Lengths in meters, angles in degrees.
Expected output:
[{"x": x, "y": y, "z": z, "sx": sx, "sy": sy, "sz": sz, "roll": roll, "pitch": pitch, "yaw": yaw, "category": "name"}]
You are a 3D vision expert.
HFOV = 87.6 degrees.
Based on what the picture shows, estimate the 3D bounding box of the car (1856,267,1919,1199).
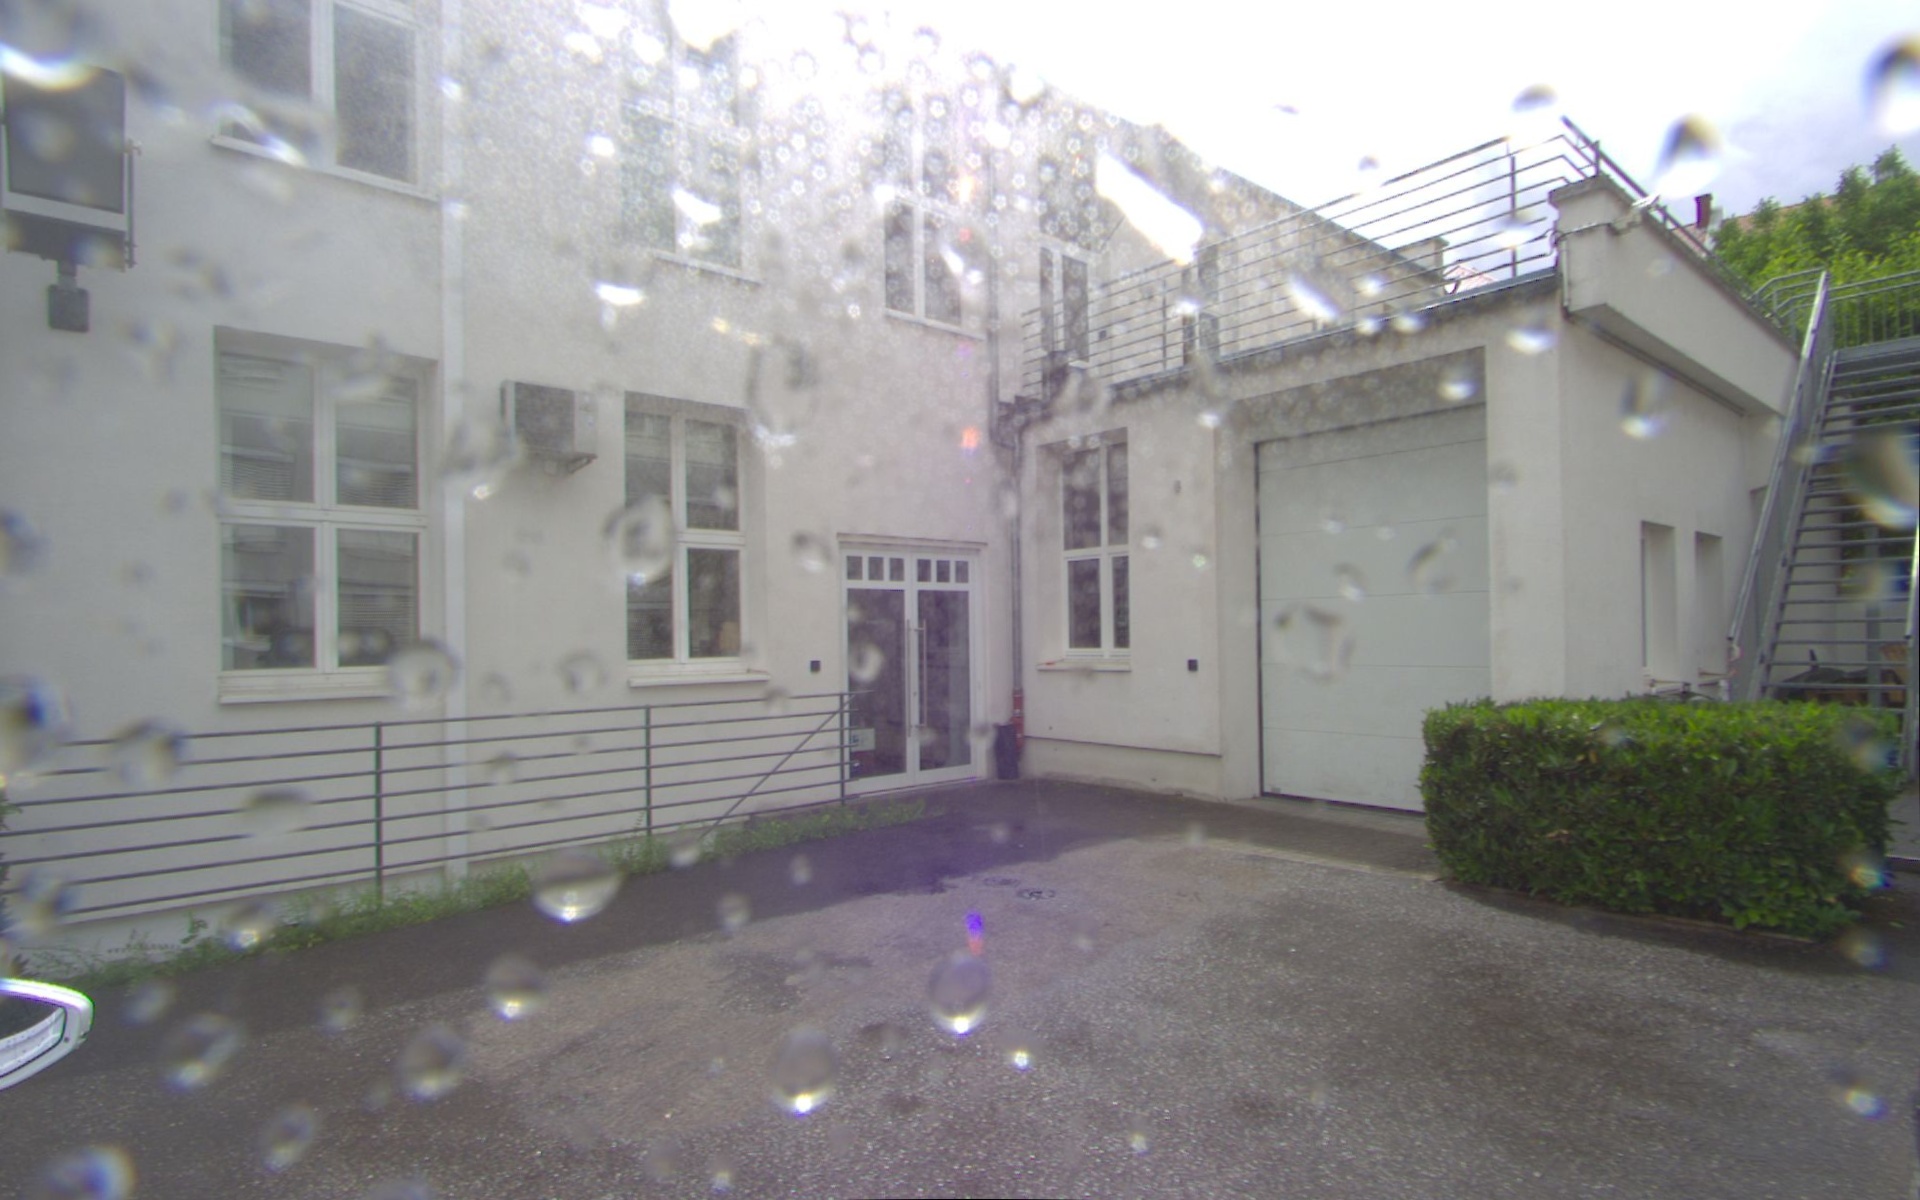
[{"x": 3.440, "y": 0.481, "z": 0.264, "sx": 4.697, "sy": 1.888, "sz": 1.954, "roll": -4, "pitch": -3, "yaw": 42, "category": "car"}]
